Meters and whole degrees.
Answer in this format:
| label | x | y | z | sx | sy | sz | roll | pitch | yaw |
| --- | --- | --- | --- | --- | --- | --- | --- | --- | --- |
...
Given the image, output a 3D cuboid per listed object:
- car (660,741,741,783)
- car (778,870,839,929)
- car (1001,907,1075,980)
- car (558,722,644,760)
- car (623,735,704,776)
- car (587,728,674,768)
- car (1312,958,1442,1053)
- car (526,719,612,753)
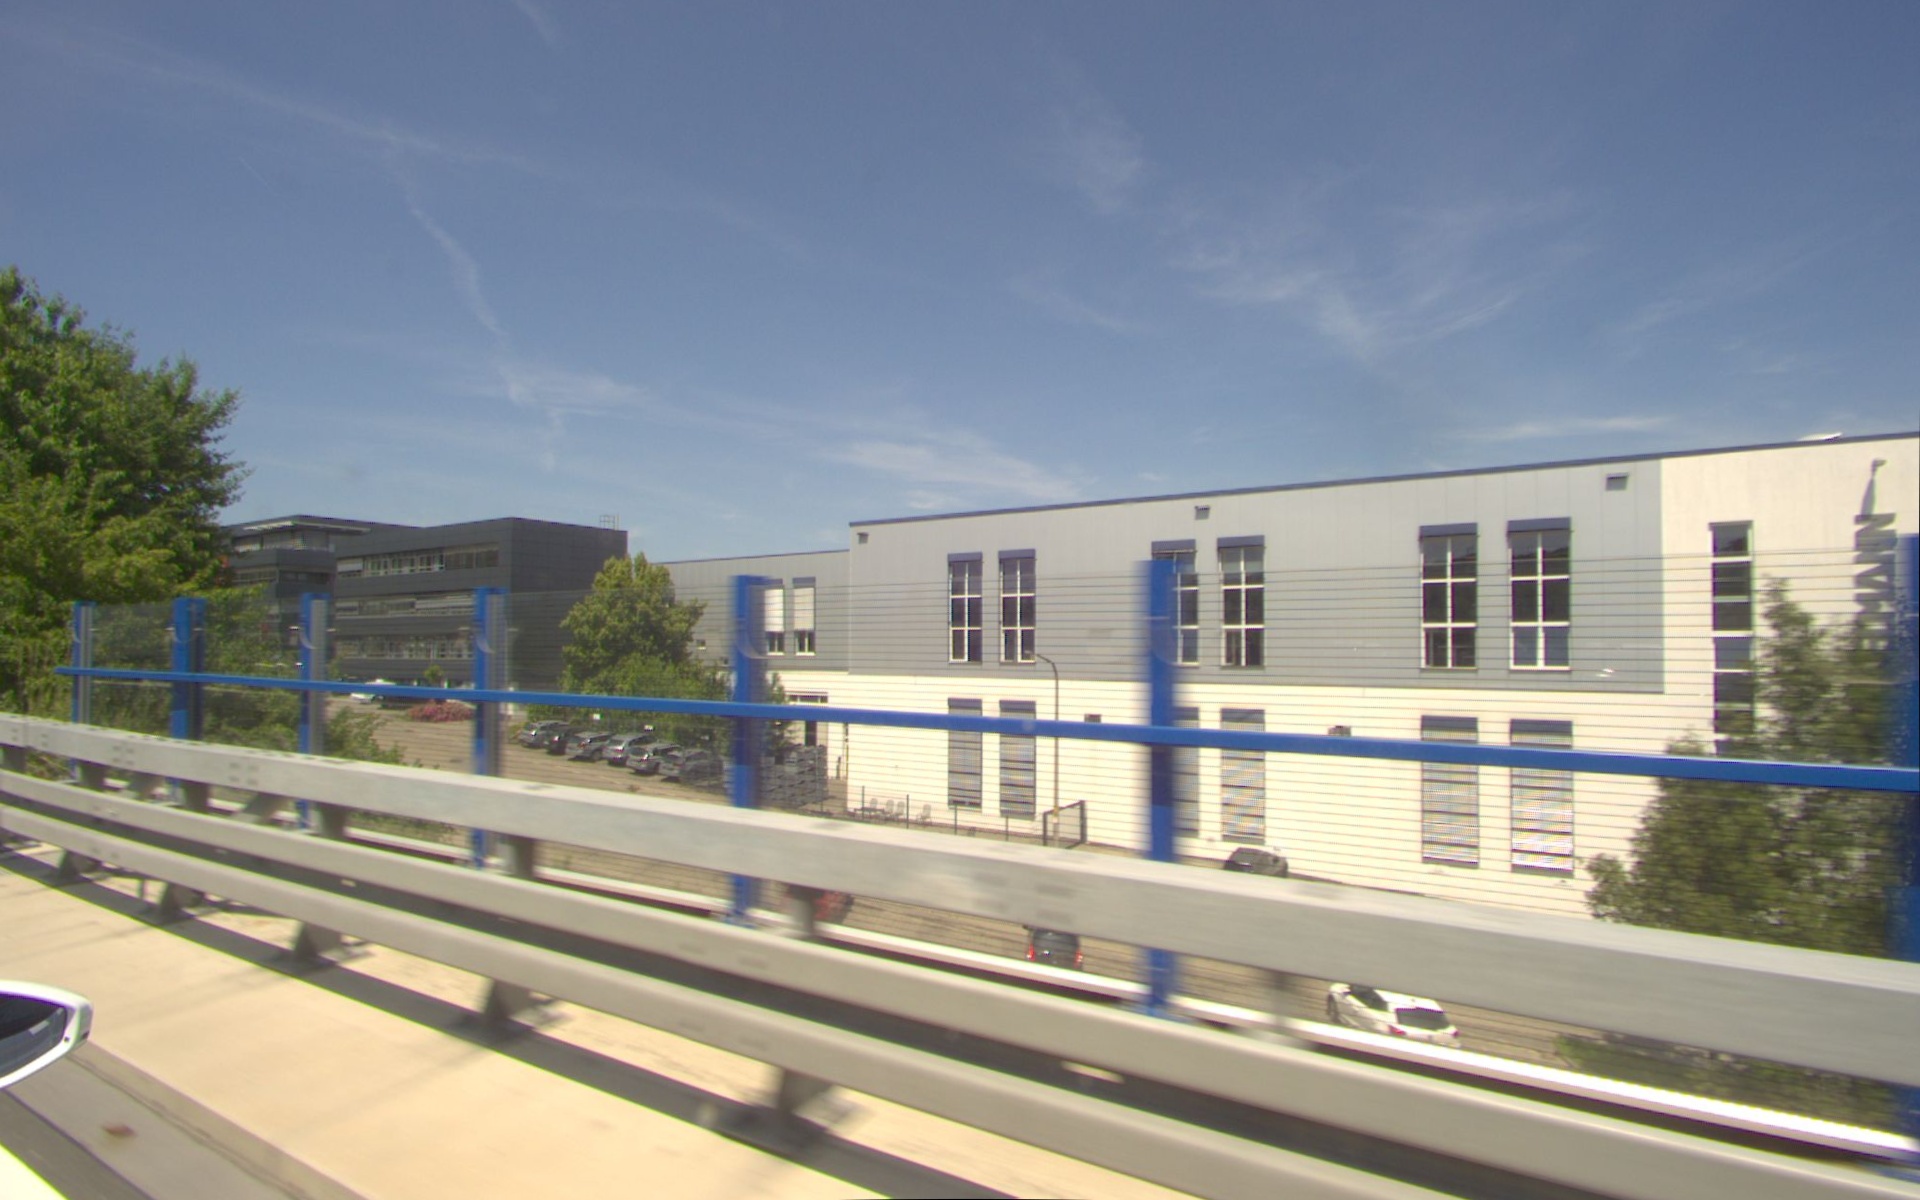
| label | x | y | z | sx | sy | sz | roll | pitch | yaw |
| --- | --- | --- | --- | --- | --- | --- | --- | --- | --- |
| car | -13.963 | 8.684 | 54.079 | 1.883 | 1.593 | 4.032 | 3 | 0 | 31 |
| car | -4.699 | 9.320 | 31.364 | 1.483 | 1.160 | 3.690 | 4 | -8 | -3 |
| car | 2.108 | 9.512 | 27.914 | 1.483 | 1.160 | 3.690 | 4 | -8 | -3 |
| car | -20.749 | 8.111 | 58.012 | 1.793 | 1.593 | 4.565 | 4 | 0 | 31 |
| car | -16.298 | 8.523 | 55.160 | 1.883 | 1.593 | 4.032 | 3 | 0 | 31 |
| car | -18.557 | 8.314 | 56.625 | 1.793 | 1.593 | 4.565 | 4 | 0 | 31 |
| car | 9.769 | 9.518 | 23.739 | 1.367 | 1.160 | 3.690 | 4 | -8 | -3 |
| car | -23.165 | 8.047 | 59.481 | 1.793 | 1.592 | 4.568 | 4 | -2 | 31 |
